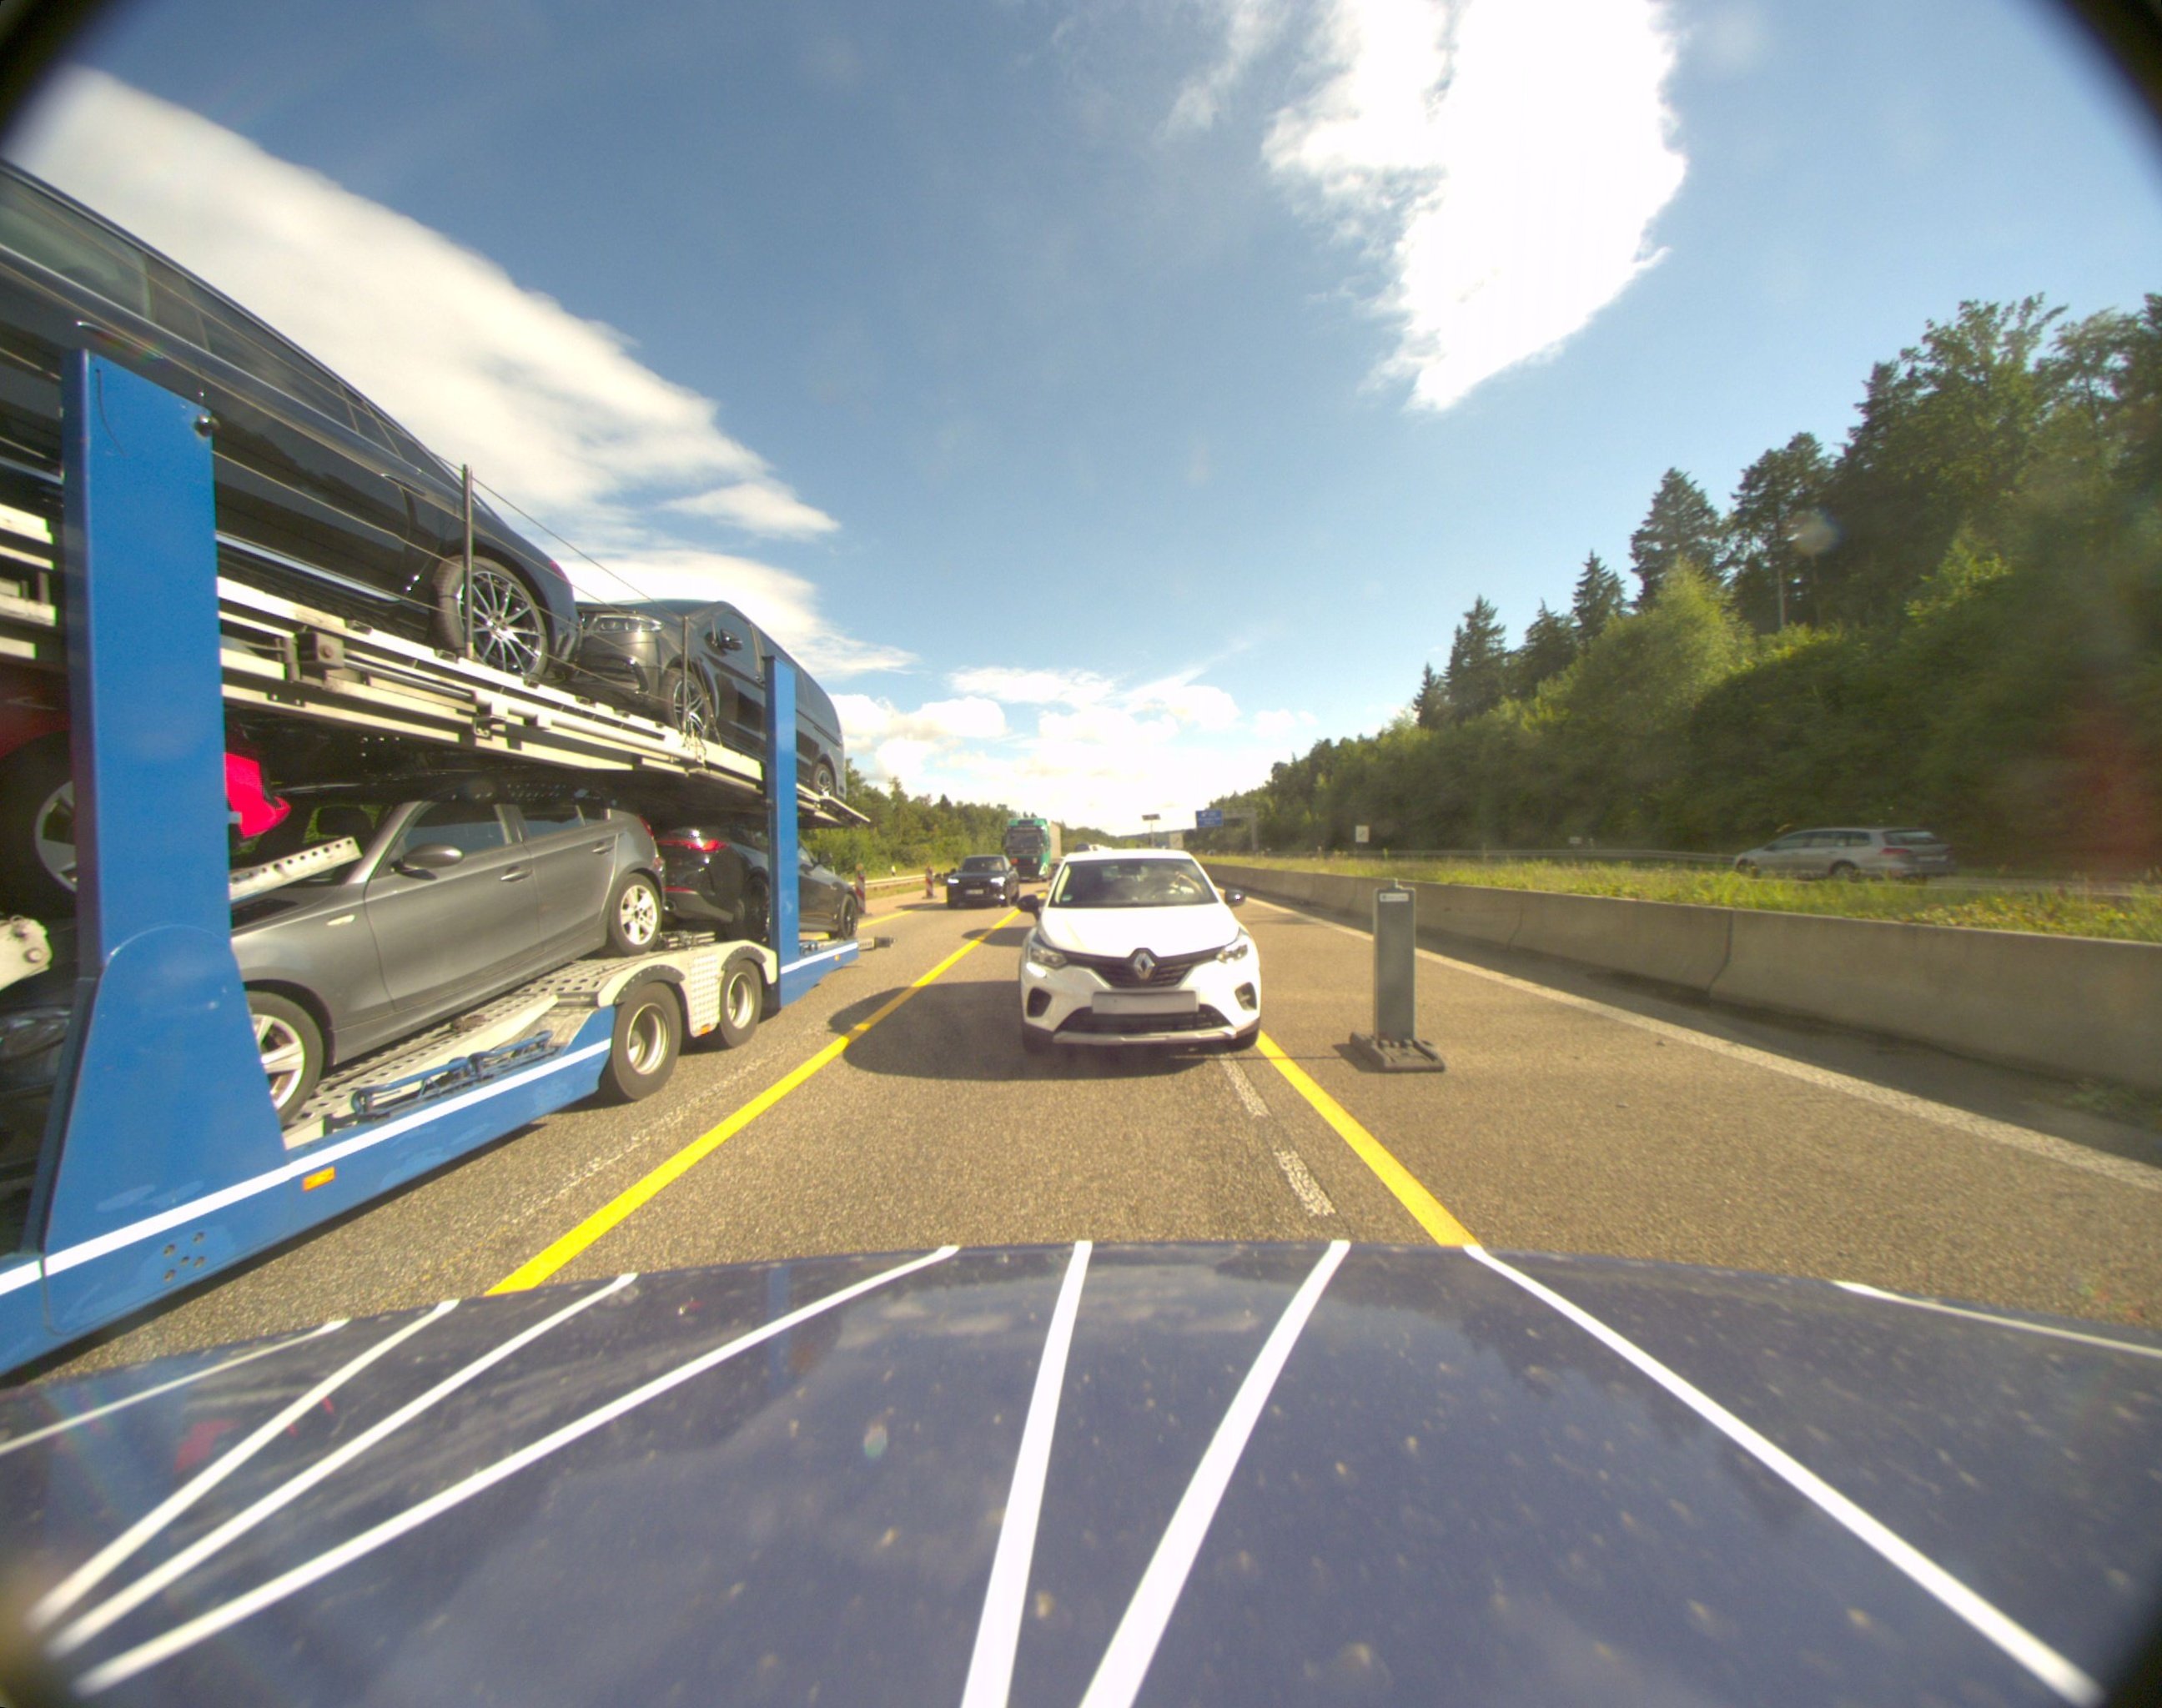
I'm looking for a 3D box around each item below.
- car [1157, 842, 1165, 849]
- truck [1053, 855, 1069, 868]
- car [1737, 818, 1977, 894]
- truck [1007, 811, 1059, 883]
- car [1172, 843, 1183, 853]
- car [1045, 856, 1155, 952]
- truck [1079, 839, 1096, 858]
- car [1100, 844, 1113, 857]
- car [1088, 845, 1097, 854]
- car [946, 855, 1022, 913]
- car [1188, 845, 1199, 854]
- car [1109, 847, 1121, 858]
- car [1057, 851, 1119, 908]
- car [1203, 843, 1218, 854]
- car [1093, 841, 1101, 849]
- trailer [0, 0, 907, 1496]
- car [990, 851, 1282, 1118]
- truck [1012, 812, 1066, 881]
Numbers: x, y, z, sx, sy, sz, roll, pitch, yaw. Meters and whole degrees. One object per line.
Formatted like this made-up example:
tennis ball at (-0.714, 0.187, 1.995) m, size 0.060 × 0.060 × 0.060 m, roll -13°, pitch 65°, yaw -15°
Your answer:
car at (23.135, -2.548, 220.454) m, size 1.998 × 2.002 × 3.999 m, roll -2°, pitch 1°, yaw 1°
truck at (-2.018, 0.707, 76.575) m, size 1.468 × 1.215 × 3.087 m, roll -2°, pitch 1°, yaw -2°
car at (18.682, 0.020, 18.596) m, size 1.782 × 1.593 × 4.017 m, roll -2°, pitch 1°, yaw 1°
truck at (-2.877, -0.435, 47.355) m, size 2.528 × 4.076 × 6.855 m, roll -2°, pitch 1°, yaw 1°
car at (21.740, -1.374, 172.026) m, size 1.998 × 2.002 × 3.999 m, roll -2°, pitch 1°, yaw 1°
car at (0.339, 0.838, 14.674) m, size 1.782 × 1.468 × 4.017 m, roll -2°, pitch 1°, yaw 1°
truck at (1.249, -1.002, 138.604) m, size 2.576 × 3.168 × 6.802 m, roll -2°, pitch 1°, yaw 3°
car at (4.184, -0.528, 123.626) m, size 1.998 × 2.002 × 3.999 m, roll -2°, pitch 1°, yaw 1°
car at (2.549, -1.052, 168.917) m, size 1.750 × 1.787 × 3.999 m, roll -2°, pitch 1°, yaw 0°
car at (-3.012, 0.874, 24.424) m, size 1.782 × 1.593 × 4.293 m, roll -2°, pitch 1°, yaw 1°
car at (26.320, -1.136, 178.018) m, size 1.998 × 2.002 × 3.999 m, roll -2°, pitch 1°, yaw 1°
car at (6.242, -0.270, 139.180) m, size 1.998 × 2.002 × 4.000 m, roll -2°, pitch 1°, yaw 3°
car at (0.231, 0.745, 24.670) m, size 1.782 × 1.593 × 4.017 m, roll -2°, pitch 1°, yaw 1°
car at (23.819, -1.057, 139.874) m, size 1.998 × 2.002 × 3.999 m, roll -2°, pitch 1°, yaw 1°
car at (3.786, -2.121, 180.506) m, size 1.750 × 1.787 × 3.999 m, roll -2°, pitch 1°, yaw 0°
trailer at (-4.749, -0.352, 3.523) m, size 3.735 × 4.172 × 16.225 m, roll -2°, pitch 1°, yaw 1°
car at (0.376, 0.824, 6.809) m, size 1.782 × 1.593 × 4.017 m, roll -2°, pitch 1°, yaw 1°
truck at (-2.713, -0.484, 53.800) m, size 2.470 × 4.119 × 14.210 m, roll -2°, pitch 0°, yaw 1°
